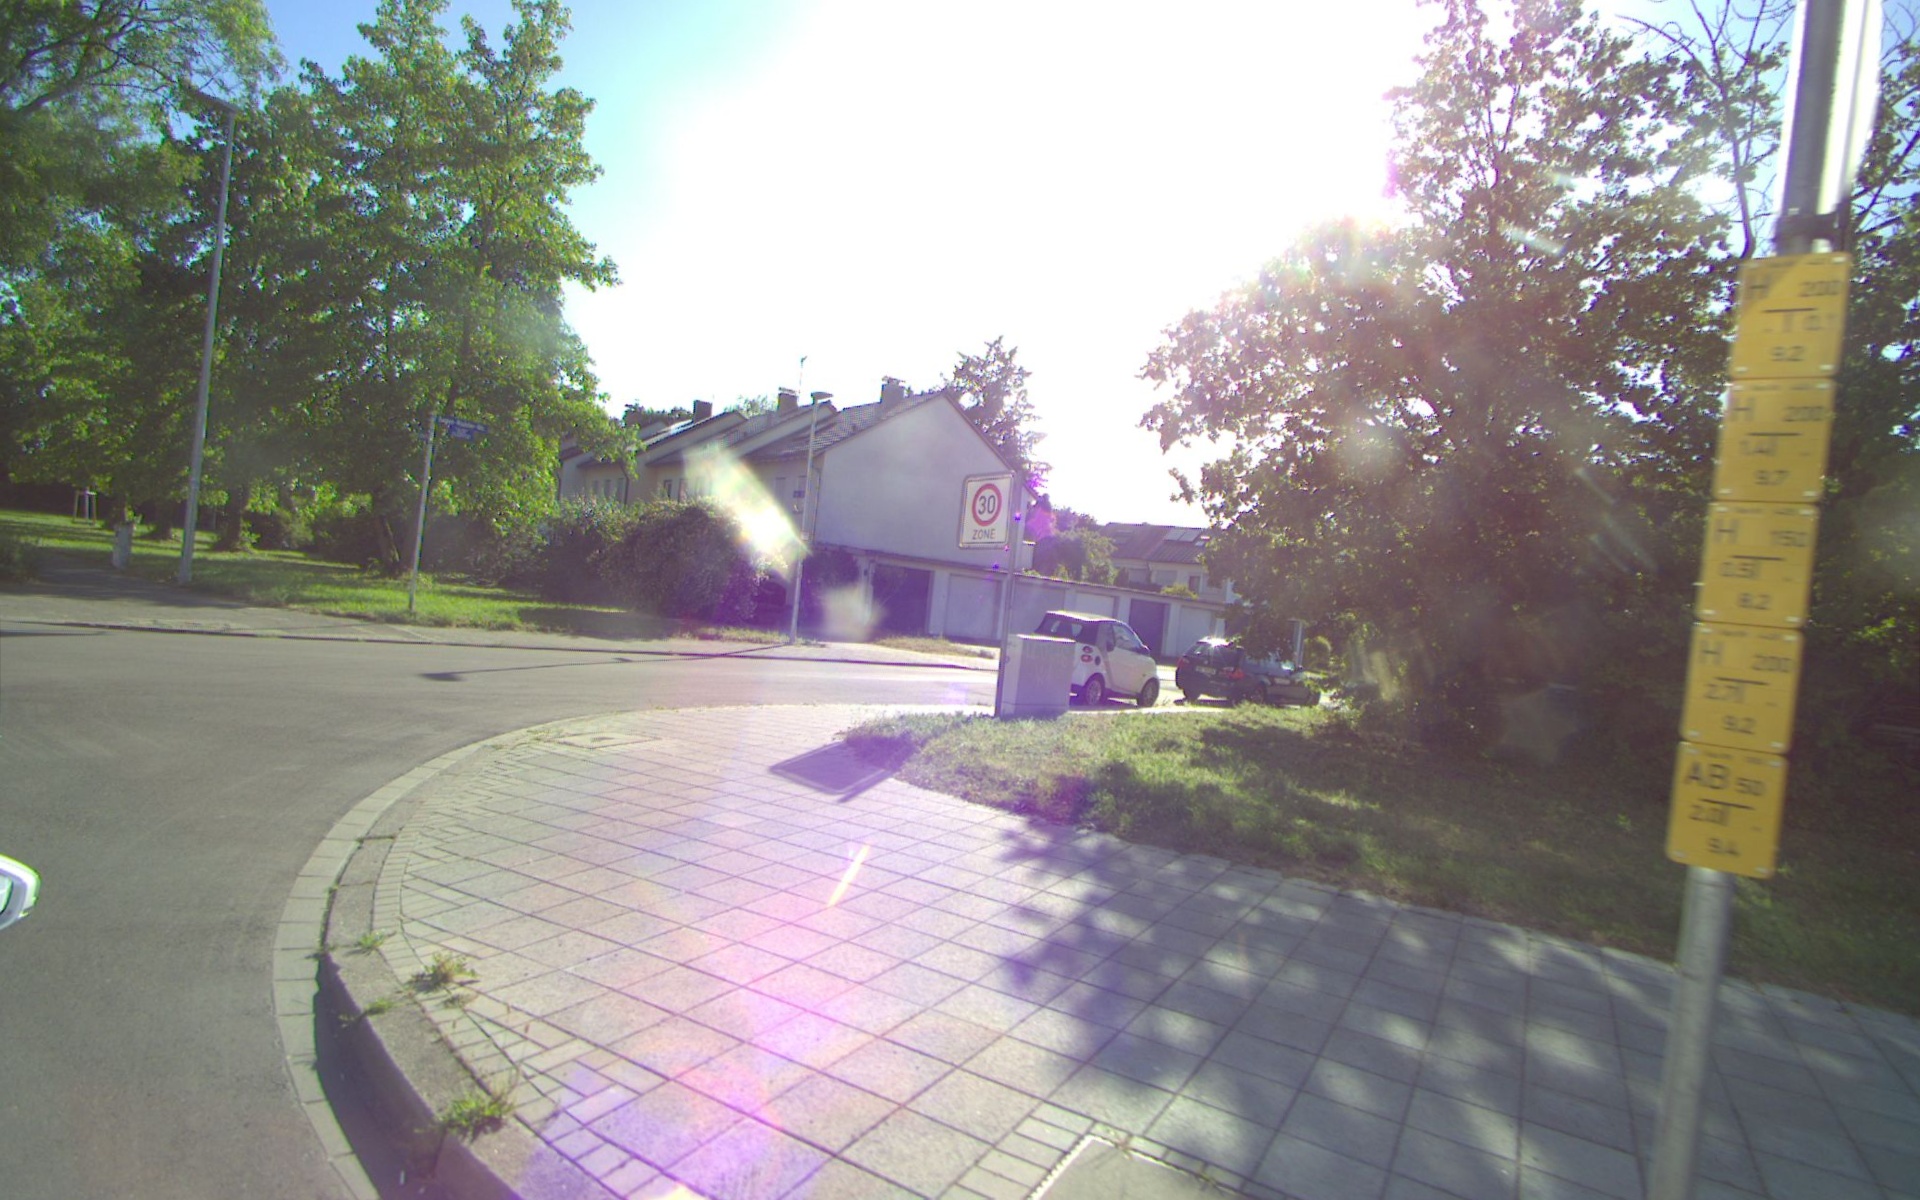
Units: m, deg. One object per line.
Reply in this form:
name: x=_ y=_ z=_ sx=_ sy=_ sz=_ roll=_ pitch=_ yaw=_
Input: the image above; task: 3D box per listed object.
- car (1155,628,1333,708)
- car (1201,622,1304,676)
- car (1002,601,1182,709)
car: x=6.494 y=1.581 z=22.673 sx=1.942 sy=1.428 sz=4.474 roll=7 pitch=0 yaw=43
car: x=11.719 y=1.955 z=40.458 sx=1.658 sy=1.508 sz=3.553 roll=6 pitch=4 yaw=-37
car: x=2.438 y=1.030 z=18.319 sx=1.677 sy=1.583 sz=2.948 roll=11 pitch=3 yaw=43
